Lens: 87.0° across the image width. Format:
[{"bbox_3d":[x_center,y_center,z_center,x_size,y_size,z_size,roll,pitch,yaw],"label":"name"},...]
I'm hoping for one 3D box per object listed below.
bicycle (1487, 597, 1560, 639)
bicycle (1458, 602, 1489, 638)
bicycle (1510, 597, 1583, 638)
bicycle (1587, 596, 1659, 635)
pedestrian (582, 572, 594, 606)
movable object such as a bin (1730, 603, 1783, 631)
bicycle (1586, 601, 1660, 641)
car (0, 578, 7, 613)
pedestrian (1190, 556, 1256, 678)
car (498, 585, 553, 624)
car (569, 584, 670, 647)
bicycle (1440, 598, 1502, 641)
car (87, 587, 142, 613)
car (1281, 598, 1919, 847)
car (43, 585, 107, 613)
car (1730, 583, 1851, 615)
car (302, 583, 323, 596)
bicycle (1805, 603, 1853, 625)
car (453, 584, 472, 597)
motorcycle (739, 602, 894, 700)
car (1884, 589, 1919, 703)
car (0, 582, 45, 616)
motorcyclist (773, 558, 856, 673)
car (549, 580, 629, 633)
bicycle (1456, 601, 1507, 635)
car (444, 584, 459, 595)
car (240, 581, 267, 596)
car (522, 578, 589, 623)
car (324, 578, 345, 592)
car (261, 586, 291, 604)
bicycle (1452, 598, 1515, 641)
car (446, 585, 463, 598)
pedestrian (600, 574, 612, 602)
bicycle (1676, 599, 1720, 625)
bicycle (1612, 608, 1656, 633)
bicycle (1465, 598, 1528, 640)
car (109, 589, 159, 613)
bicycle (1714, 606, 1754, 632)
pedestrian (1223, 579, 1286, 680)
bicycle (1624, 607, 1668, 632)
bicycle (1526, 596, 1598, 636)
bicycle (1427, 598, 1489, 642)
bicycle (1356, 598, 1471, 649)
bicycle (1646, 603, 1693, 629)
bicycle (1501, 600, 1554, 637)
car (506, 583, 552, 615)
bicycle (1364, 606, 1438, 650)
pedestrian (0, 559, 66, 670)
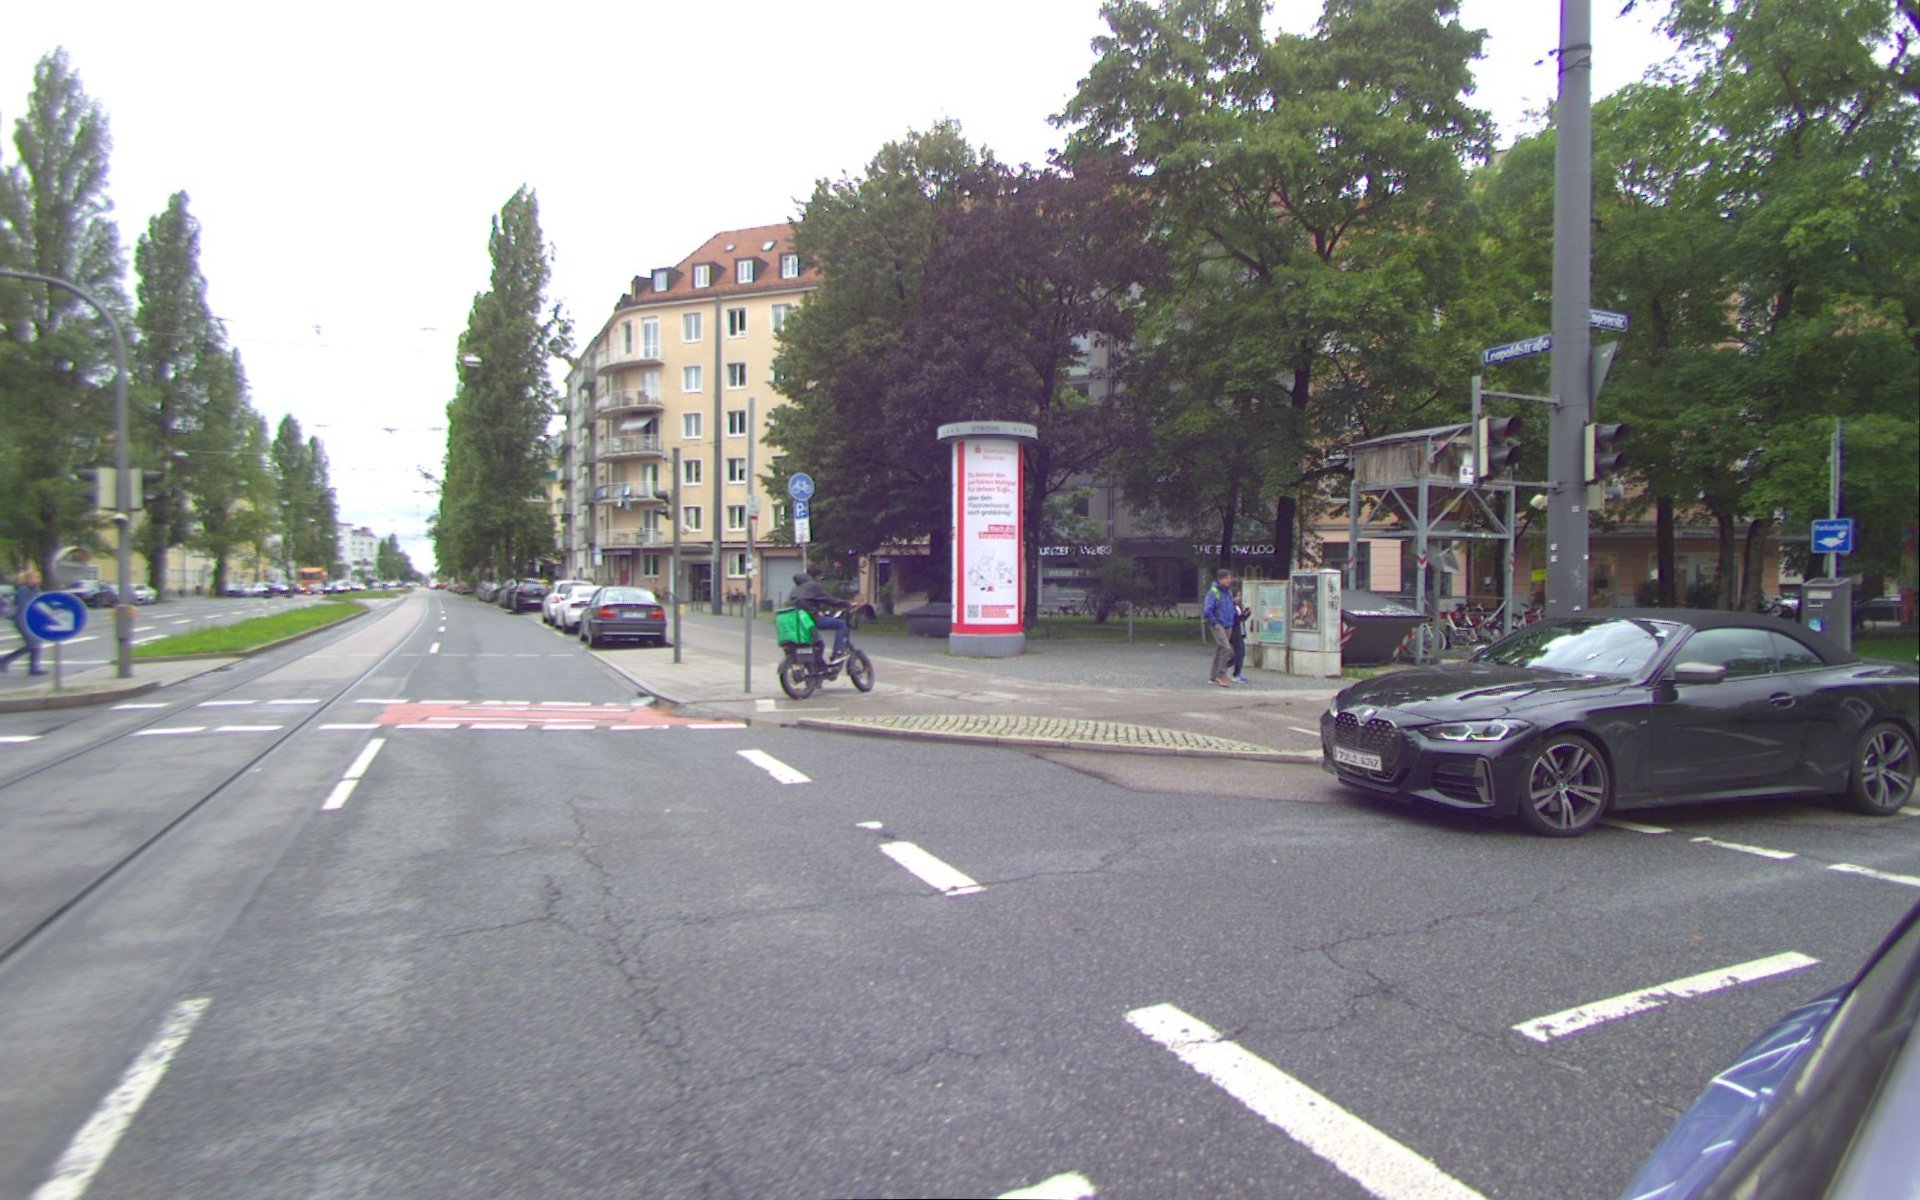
[{"bbox_3d":[12.470,0.397,22.425,0.307,0.905,1.411,-1,-1,-37],"label":"bicycle"},{"bbox_3d":[13.350,0.502,26.315,0.308,0.905,1.408,-1,0,10],"label":"bicycle"},{"bbox_3d":[13.312,0.381,22.995,1.407,0.905,0.308,1,1,42],"label":"bicycle"},{"bbox_3d":[15.810,0.371,24.155,1.400,0.905,0.310,-1,-1,31],"label":"bicycle"},{"bbox_3d":[-22.711,-0.680,61.805,0.536,2.039,0.631,-1,-1,-32],"label":"pedestrian"},{"bbox_3d":[26.706,0.557,33.956,0.757,0.883,1.184,0,1,-15],"label":"movable object such as a bin"},{"bbox_3d":[15.468,0.487,23.642,1.400,0.905,0.310,-1,-1,31],"label":"bicycle"},{"bbox_3d":[-41.839,-0.147,42.354,1.750,1.504,4.146,-1,2,-27],"label":"car"},{"bbox_3d":[3.798,0.219,14.627,0.534,1.680,0.723,-1,4,-24],"label":"pedestrian"},{"bbox_3d":[-17.324,0.119,40.258,1.696,1.424,4.382,0,1,-27],"label":"car"},{"bbox_3d":[-8.202,0.298,24.163,1.696,1.332,4.006,0,1,-27],"label":"car"},{"bbox_3d":[11.142,0.422,22.095,0.306,0.905,1.415,-1,0,-16],"label":"bicycle"},{"bbox_3d":[-53.076,-0.044,63.621,1.750,1.504,4.146,-1,2,-27],"label":"car"},{"bbox_3d":[4.888,0.706,7.334,4.697,1.407,1.733,0,1,-16],"label":"car"},{"bbox_3d":[-50.165,-0.094,57.458,1.750,1.504,4.146,-1,2,-27],"label":"car"},{"bbox_3d":[41.312,-0.031,50.483,1.822,1.485,4.451,-1,0,-14],"label":"car"},{"bbox_3d":[-80.605,-1.302,125.962,1.750,1.504,4.146,-1,2,-27],"label":"car"},{"bbox_3d":[29.378,0.474,34.238,1.164,0.733,0.317,-1,-1,22],"label":"bicycle"},{"bbox_3d":[-60.770,-1.115,123.609,1.782,1.488,4.003,-1,0,-30],"label":"car"},{"bbox_3d":[-1.875,0.643,13.443,1.994,1.184,0.629,-1,-1,-41],"label":"motorcycle"},{"bbox_3d":[15.534,0.638,14.352,4.459,1.568,1.840,0,1,-22],"label":"car"},{"bbox_3d":[-44.537,-0.082,47.205,1.750,1.504,4.146,-1,2,-27],"label":"car"},{"bbox_3d":[-1.923,0.196,13.367,0.866,1.461,0.619,-1,-1,-41],"label":"motorcyclist"},{"bbox_3d":[-11.058,0.142,29.961,1.696,1.424,4.382,0,1,-27],"label":"car"},{"bbox_3d":[14.213,0.487,27.564,1.383,0.905,0.314,-1,-1,-17],"label":"bicycle"},{"bbox_3d":[-80.723,-1.658,160.583,1.960,1.727,4.003,-1,0,-30],"label":"car"},{"bbox_3d":[-72.378,-1.222,103.742,1.750,1.504,4.146,-1,2,-27],"label":"car"},{"bbox_3d":[-13.776,-0.027,34.348,1.696,1.424,4.382,0,1,-27],"label":"car"},{"bbox_3d":[-72.390,-1.744,117.096,1.750,1.504,4.146,-1,2,-27],"label":"car"},{"bbox_3d":[-61.409,-0.451,90.869,1.750,1.504,4.146,-1,2,-27],"label":"car"},{"bbox_3d":[11.476,0.416,22.220,0.306,0.905,1.415,-1,0,-16],"label":"bicycle"},{"bbox_3d":[-66.363,-1.108,132.927,1.782,1.739,4.003,-1,0,-30],"label":"car"},{"bbox_3d":[-21.375,-0.737,61.125,0.536,1.686,0.652,-1,-1,-32],"label":"pedestrian"},{"bbox_3d":[21.608,0.351,29.636,1.154,0.733,0.319,-1,-1,-12],"label":"bicycle"},{"bbox_3d":[20.526,0.612,30.825,0.312,0.733,1.181,-1,0,-14],"label":"bicycle"},{"bbox_3d":[11.813,0.410,22.308,0.306,0.905,1.415,-1,0,-16],"label":"bicycle"},{"bbox_3d":[-55.464,0.019,67.995,1.750,1.504,4.146,-1,2,-27],"label":"car"},{"bbox_3d":[23.060,0.560,30.161,0.313,0.733,1.178,-1,0,3],"label":"bicycle"},{"bbox_3d":[4.328,0.409,14.892,0.534,1.421,0.722,-1,3,-24],"label":"pedestrian"},{"bbox_3d":[21.259,0.599,31.375,0.312,0.733,1.181,-1,0,-14],"label":"bicycle"},{"bbox_3d":[13.991,0.384,23.547,1.400,0.905,0.310,-1,-1,31],"label":"bicycle"},{"bbox_3d":[10.805,0.429,21.999,0.306,0.905,1.415,-1,0,-16],"label":"bicycle"},{"bbox_3d":[9.596,0.490,21.512,0.618,1.029,2.240,-1,0,-33],"label":"bicycle"},{"bbox_3d":[20.779,0.455,29.659,0.312,0.733,1.181,-1,0,-14],"label":"bicycle"},{"bbox_3d":[14.603,0.476,26.051,1.383,0.905,0.314,-1,-1,-17],"label":"bicycle"},{"bbox_3d":[-20.668,-0.068,48.401,1.696,1.424,4.482,0,1,-27],"label":"car"},{"bbox_3d":[9.157,0.580,21.027,1.387,0.905,0.313,1,-1,3],"label":"bicycle"},{"bbox_3d":[-14.546,0.220,15.800,0.544,1.684,0.698,-1,-1,17],"label":"pedestrian"}]
